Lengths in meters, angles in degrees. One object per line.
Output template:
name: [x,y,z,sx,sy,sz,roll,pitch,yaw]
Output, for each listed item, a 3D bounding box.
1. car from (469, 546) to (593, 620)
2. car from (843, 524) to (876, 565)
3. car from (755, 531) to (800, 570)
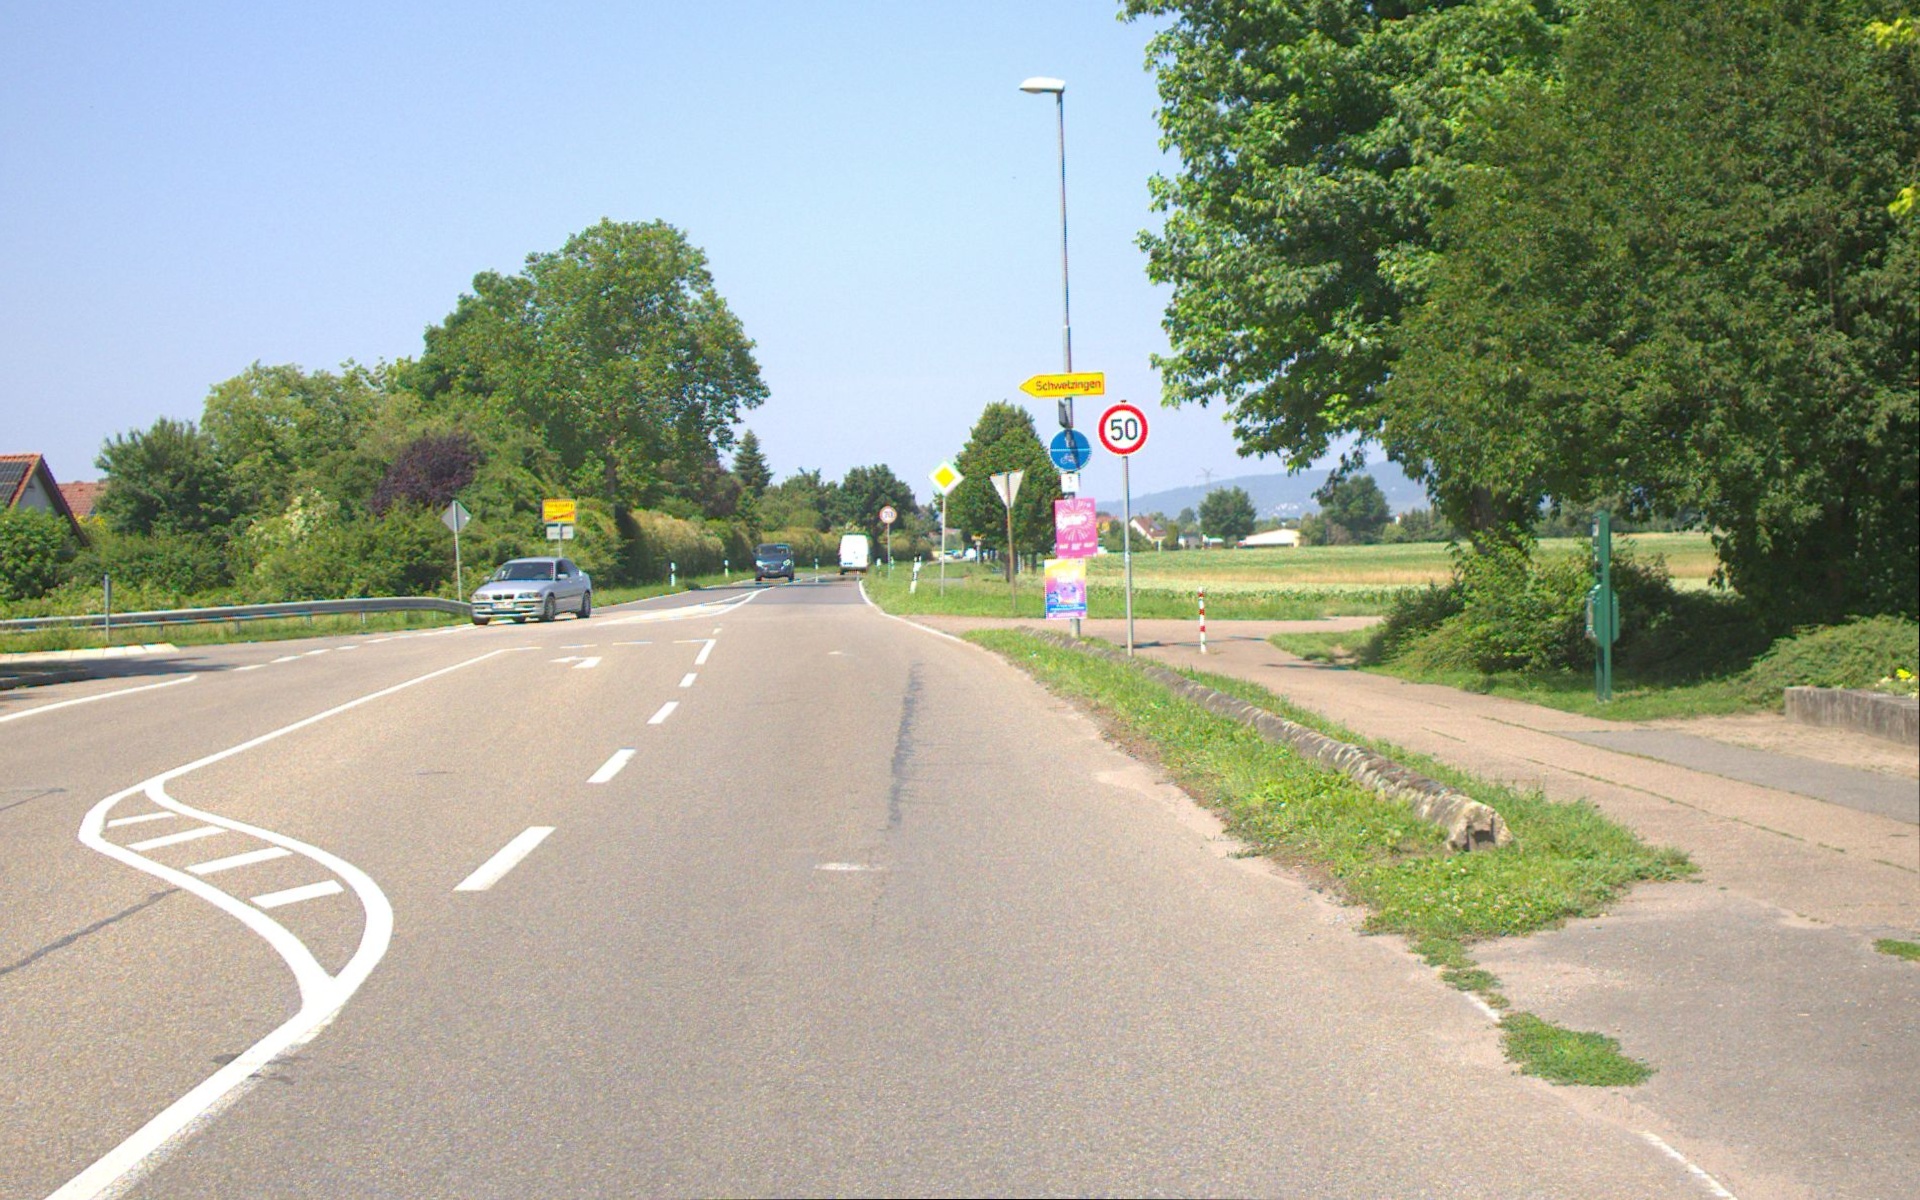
car: [-9.430,-0.399,75.879,1.636,1.466,4.415,-2,1,7]
car: [-6.702,-3.689,229.605,1.993,2.642,4.000,-2,1,0]
car: [-9.735,-2.670,183.926,2.144,1.944,5.248,-2,1,-1]
